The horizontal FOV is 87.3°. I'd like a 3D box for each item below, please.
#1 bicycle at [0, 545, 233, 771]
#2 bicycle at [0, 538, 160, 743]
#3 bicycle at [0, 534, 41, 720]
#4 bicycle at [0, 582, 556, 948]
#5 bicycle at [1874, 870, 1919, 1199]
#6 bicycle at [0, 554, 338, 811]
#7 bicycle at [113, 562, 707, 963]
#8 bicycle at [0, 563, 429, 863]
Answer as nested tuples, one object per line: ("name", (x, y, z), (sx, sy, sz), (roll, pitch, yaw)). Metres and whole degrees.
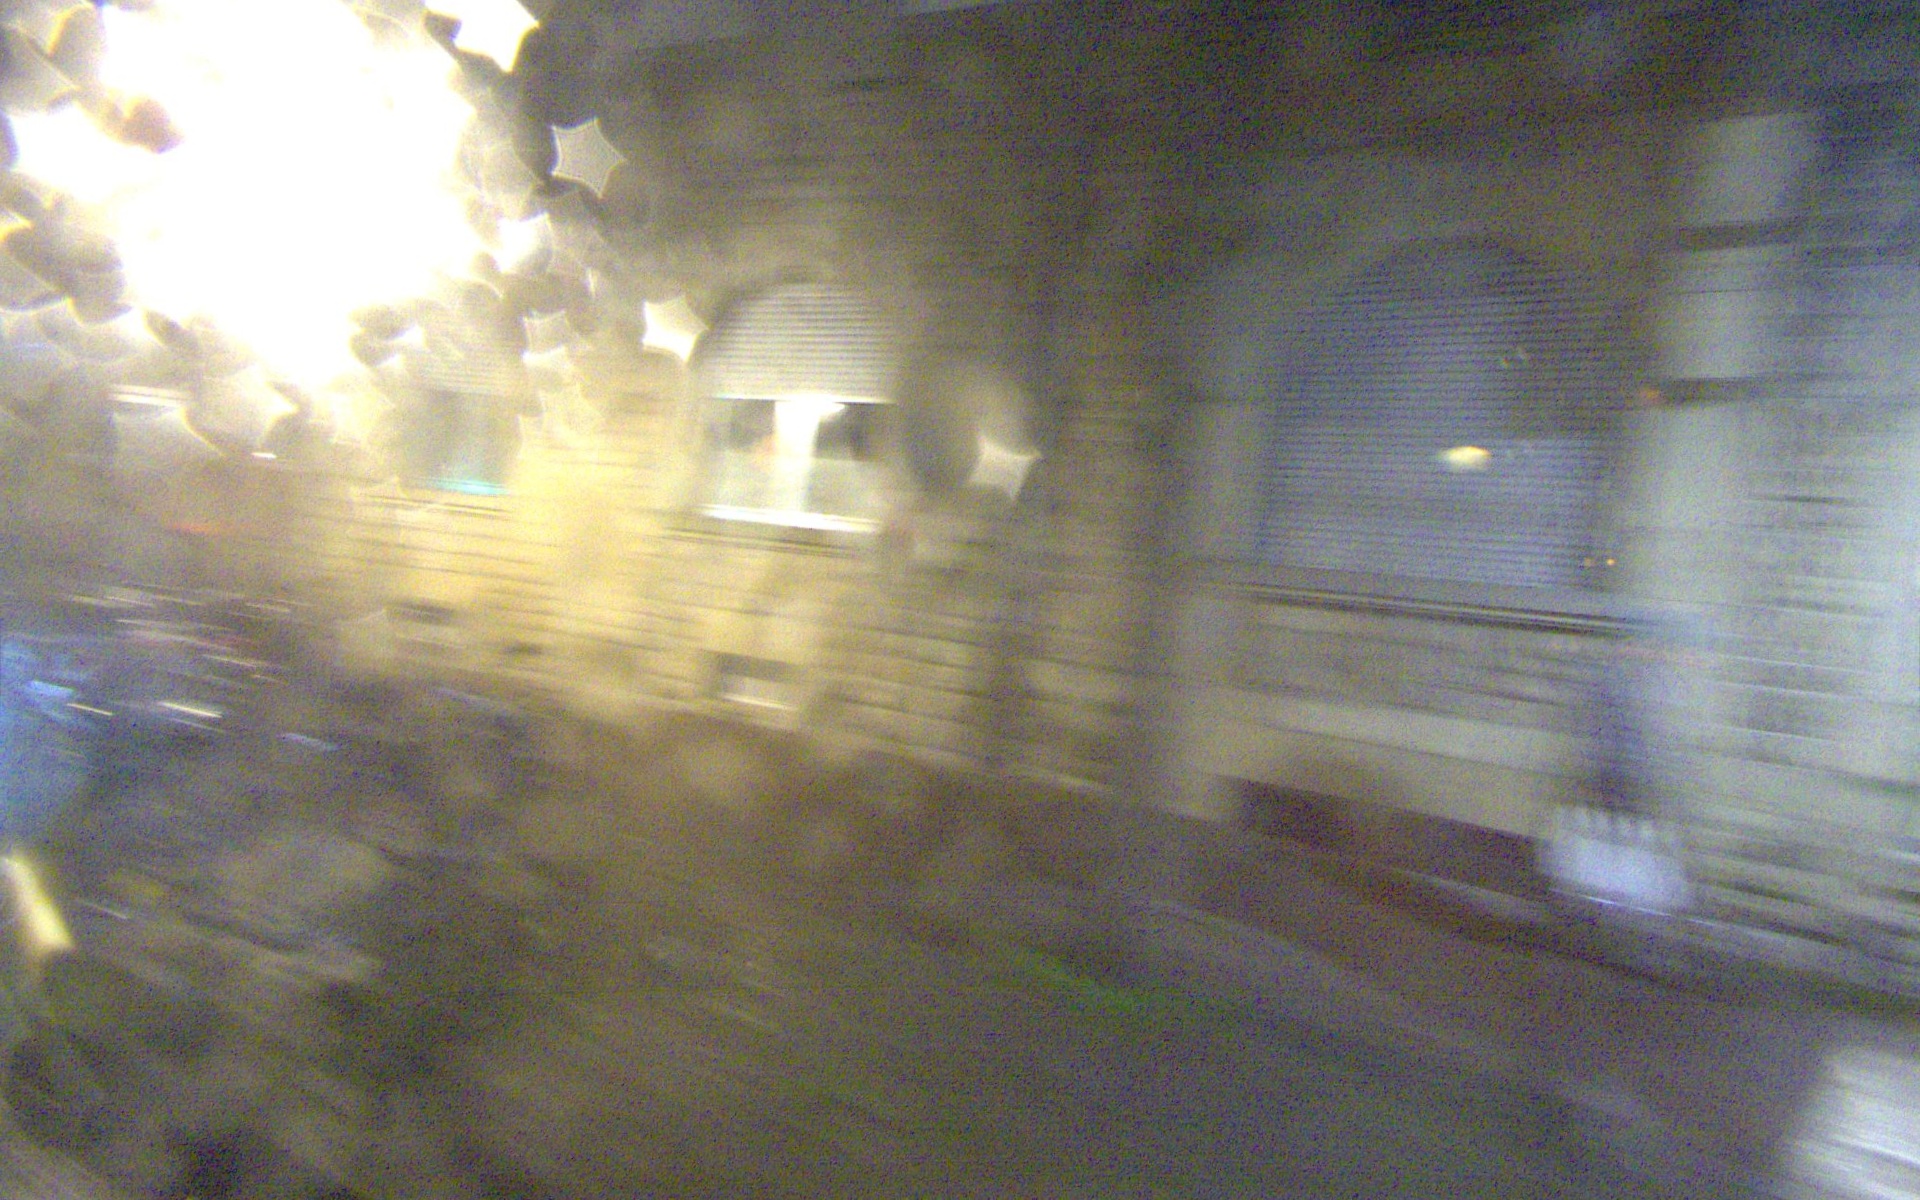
("bicycle", (-4.711, 0.252, 4.736), (0.631, 1.019, 1.971), (7, 1, 26))
("bicycle", (-5.299, 0.181, 4.979), (0.631, 1.019, 1.971), (7, 1, 26))
("bicycle", (-5.990, 0.102, 5.000), (0.631, 1.019, 1.971), (7, 1, 26))
("bicycle", (-2.623, 0.501, 3.863), (0.717, 1.000, 1.929), (7, 1, 26))
("bicycle", (2.114, 1.005, 1.369), (0.717, 1.233, 1.872), (7, 1, 26))
("bicycle", (-4.013, 0.336, 4.526), (0.631, 1.019, 1.971), (7, 1, 26))
("bicycle", (-1.976, 0.510, 3.980), (0.717, 1.129, 1.929), (7, 1, 26))
("bicycle", (-3.386, 0.408, 4.215), (0.676, 1.019, 1.971), (7, 1, 26))
